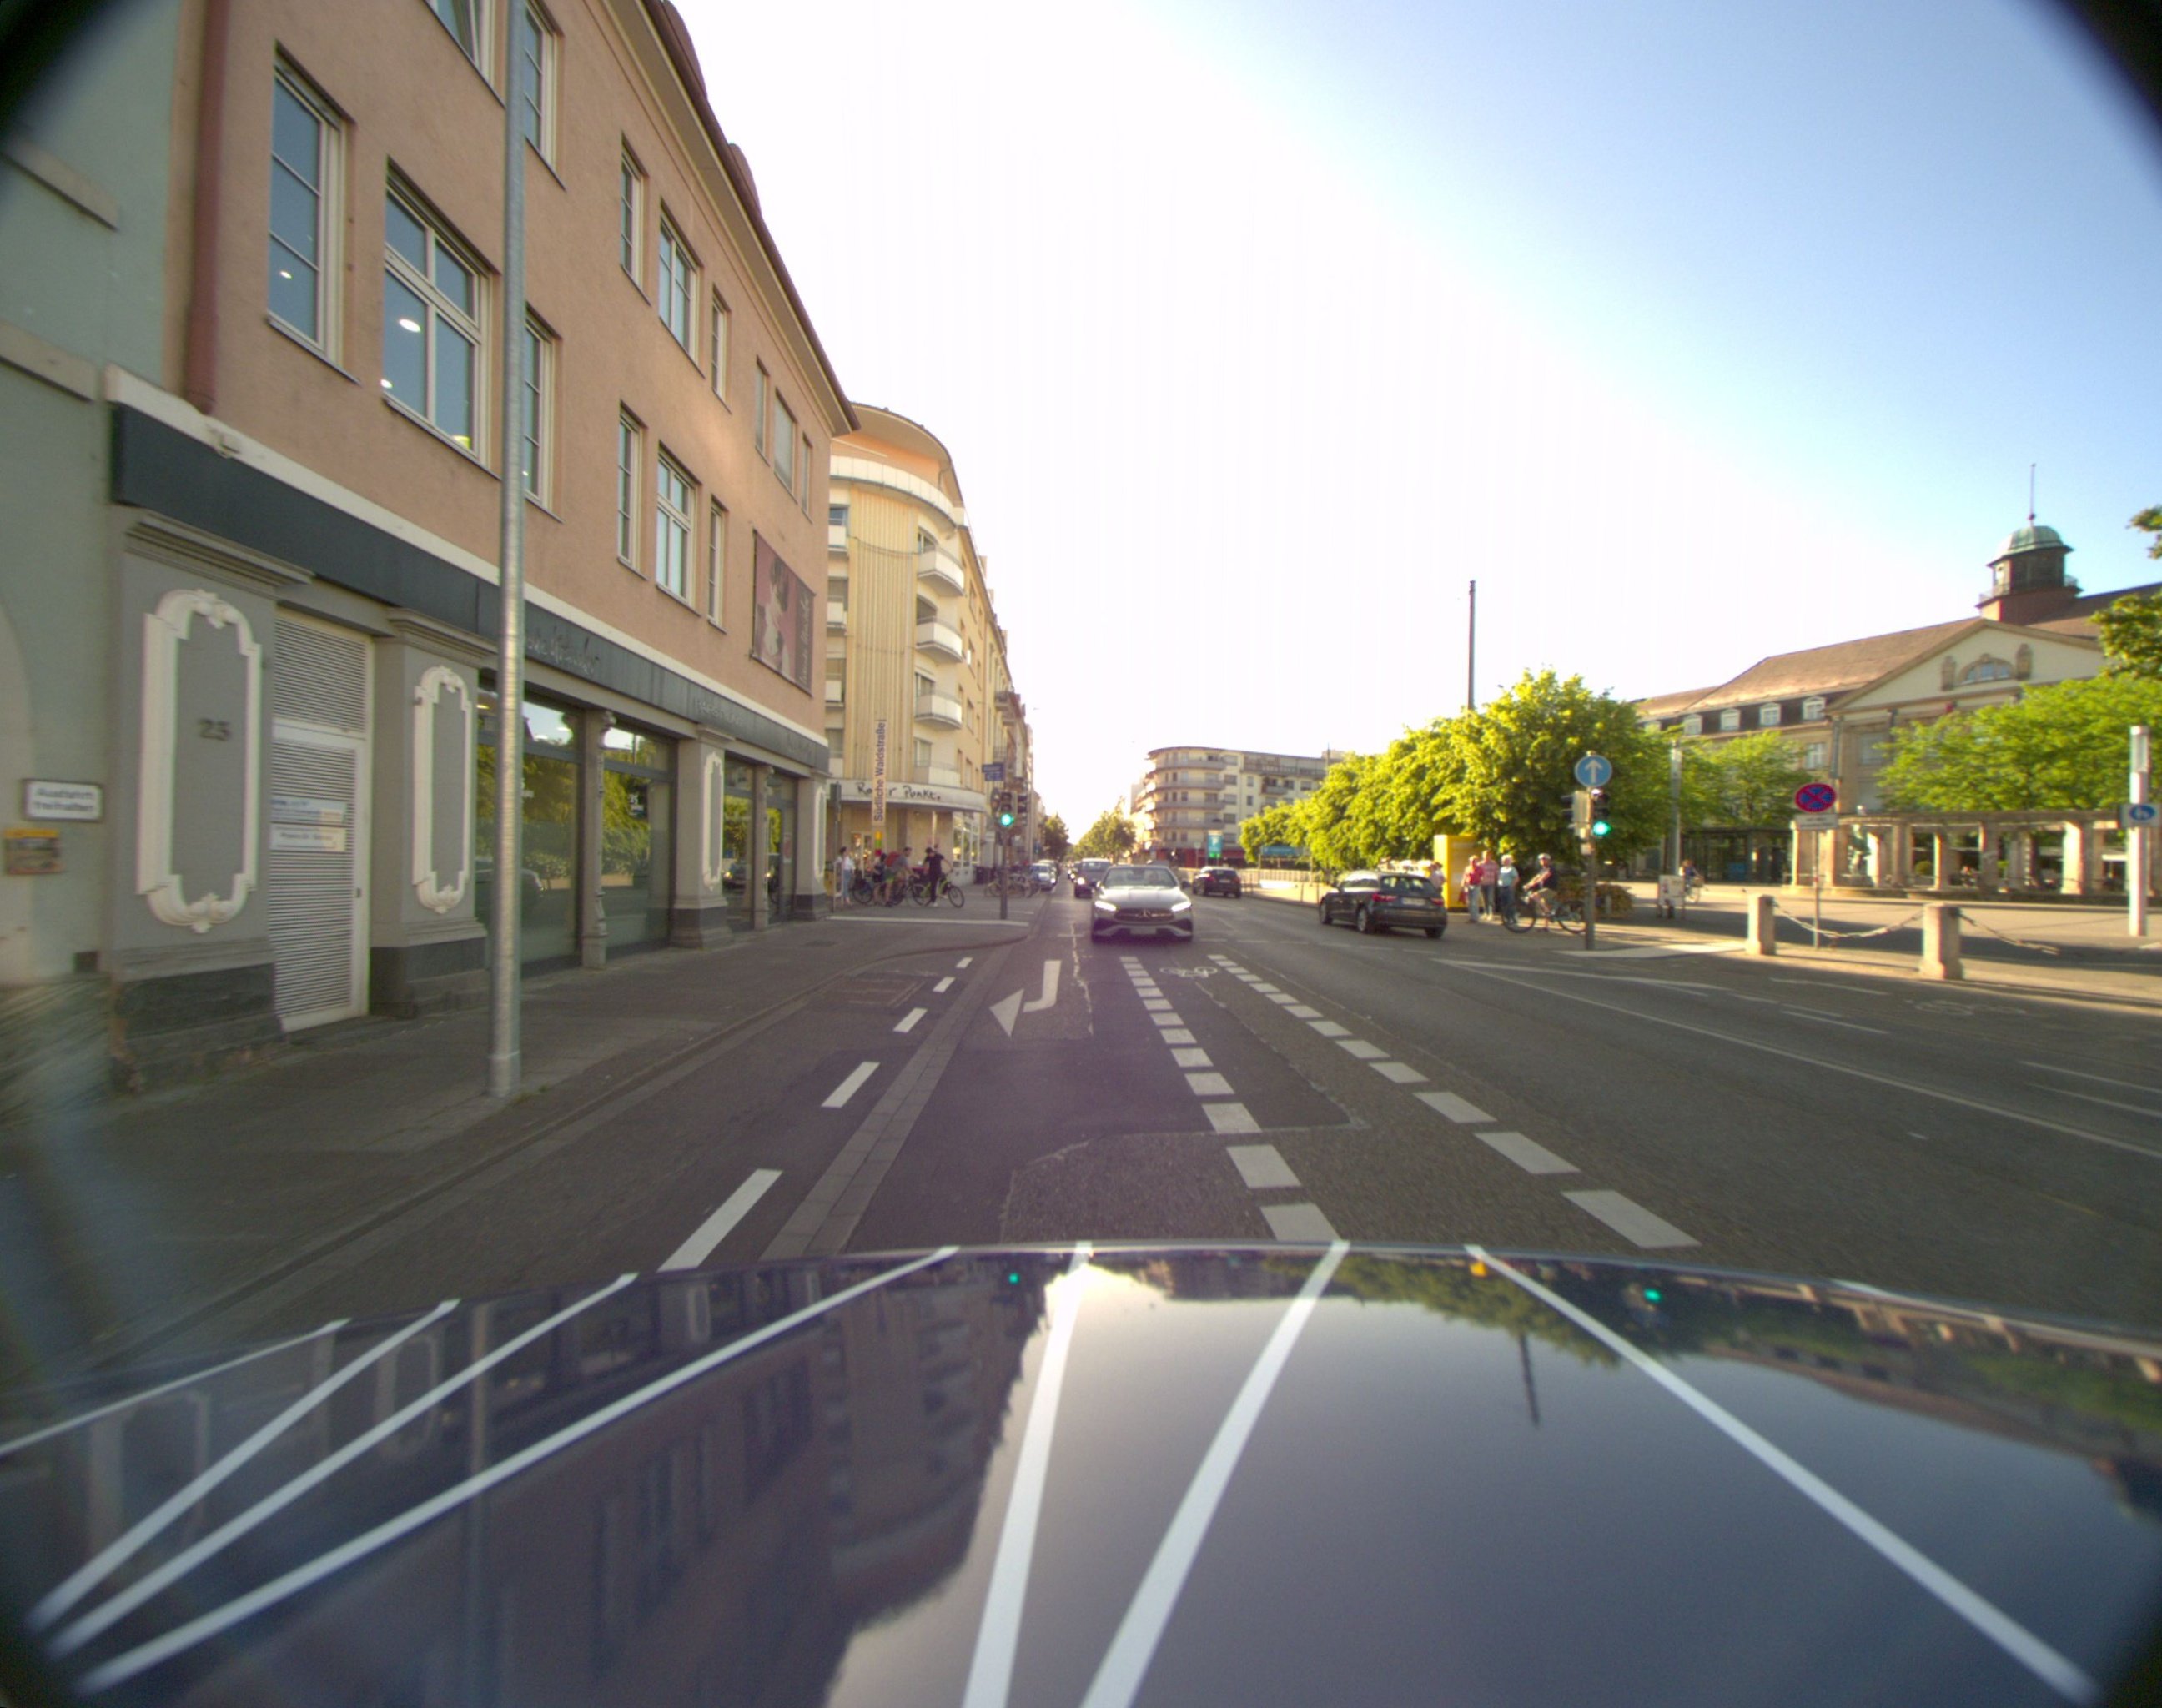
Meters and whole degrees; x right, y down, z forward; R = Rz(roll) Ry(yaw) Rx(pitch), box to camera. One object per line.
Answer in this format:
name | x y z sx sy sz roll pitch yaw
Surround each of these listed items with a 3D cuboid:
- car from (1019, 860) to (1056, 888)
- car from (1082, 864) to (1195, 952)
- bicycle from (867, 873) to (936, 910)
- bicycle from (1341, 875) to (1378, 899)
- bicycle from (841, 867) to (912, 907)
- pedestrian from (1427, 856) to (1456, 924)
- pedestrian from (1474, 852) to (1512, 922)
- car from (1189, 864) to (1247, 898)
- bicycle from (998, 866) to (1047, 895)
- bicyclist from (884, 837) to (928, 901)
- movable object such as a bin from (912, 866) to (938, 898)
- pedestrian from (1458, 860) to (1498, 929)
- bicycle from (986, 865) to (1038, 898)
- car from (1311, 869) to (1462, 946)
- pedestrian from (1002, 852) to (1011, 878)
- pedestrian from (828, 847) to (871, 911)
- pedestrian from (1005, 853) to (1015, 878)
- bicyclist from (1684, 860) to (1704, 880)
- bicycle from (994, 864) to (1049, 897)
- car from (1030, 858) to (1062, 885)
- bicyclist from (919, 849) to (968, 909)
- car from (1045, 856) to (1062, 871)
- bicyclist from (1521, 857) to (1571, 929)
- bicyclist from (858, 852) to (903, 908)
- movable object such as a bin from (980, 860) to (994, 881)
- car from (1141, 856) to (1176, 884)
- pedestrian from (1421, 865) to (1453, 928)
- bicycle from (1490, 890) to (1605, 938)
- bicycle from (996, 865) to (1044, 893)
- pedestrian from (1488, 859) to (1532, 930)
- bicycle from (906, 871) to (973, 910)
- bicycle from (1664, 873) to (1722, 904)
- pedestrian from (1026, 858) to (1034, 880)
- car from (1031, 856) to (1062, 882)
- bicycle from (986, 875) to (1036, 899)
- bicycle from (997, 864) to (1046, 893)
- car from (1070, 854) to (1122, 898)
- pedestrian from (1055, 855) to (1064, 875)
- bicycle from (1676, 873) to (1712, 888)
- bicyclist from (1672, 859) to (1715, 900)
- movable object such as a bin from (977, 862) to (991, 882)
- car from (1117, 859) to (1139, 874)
car | -2.248 1.029 40.263 1.693 1.390 4.000 1 0 1
car | 1.018 0.962 15.204 1.910 1.453 4.364 -1 0 1
bicycle | -4.950 1.031 21.077 1.822 0.988 0.564 1 0 -11
bicycle | 12.456 1.455 34.017 1.529 1.025 0.364 1 0 14
bicycle | -5.941 0.950 22.070 1.915 1.090 0.735 1 0 21
pedestrian | 10.077 0.988 21.235 0.650 1.846 0.626 1 0 31
pedestrian | 11.543 0.919 21.301 0.609 1.907 0.784 1 0 1
car | 6.538 1.264 36.709 1.754 1.415 4.253 4 0 -3
bicycle | -2.402 1.091 31.461 1.962 1.150 0.755 1 0 0
bicyclist | -4.860 0.417 21.082 1.142 1.751 0.752 1 0 -13
movable object such as a bin | -5.521 0.991 26.910 0.810 1.106 0.620 1 0 -2
pedestrian | 10.704 1.082 20.498 0.591 1.801 0.781 1 0 -45
bicycle | -2.646 1.043 29.201 1.946 1.205 0.933 1 0 -6
car | 6.872 1.140 17.591 1.655 1.389 4.042 4 0 -2
pedestrian | -5.747 0.849 58.700 0.673 1.942 0.615 1 0 -4
pedestrian | -6.186 0.652 20.299 0.813 1.649 0.768 1 0 36
pedestrian | -5.427 0.878 57.960 0.694 1.895 0.906 1 0 -4
bicyclist | 45.392 1.166 56.265 0.952 1.463 0.647 0 0 -2
bicycle | -2.362 1.044 30.194 2.142 1.236 0.710 1 0 -5
car | -2.336 1.145 50.866 1.999 1.724 4.198 1 0 -3
bicyclist | -3.950 0.702 21.824 1.129 1.675 0.727 1 0 27
car | -3.364 1.125 93.225 1.999 1.717 4.000 1 0 0
bicyclist | 10.879 0.891 17.808 0.803 1.638 0.995 0 0 21
bicyclist | -5.812 0.730 22.041 1.028 1.574 0.727 1 0 21
movable object such as a bin | -5.674 1.004 46.038 0.703 1.232 0.960 1 0 0
car | 5.880 1.172 58.246 1.999 1.935 4.782 4 0 -2
pedestrian | 9.683 1.126 20.658 0.686 1.663 0.699 1 0 31
bicycle | 10.892 1.403 17.818 2.171 1.065 0.765 -2 -1 20
bicycle | -2.711 1.094 33.837 2.049 1.174 0.683 1 0 0
pedestrian | 11.128 1.026 19.714 0.590 1.801 0.782 1 0 -27
bicycle | -4.104 1.045 21.984 1.910 1.014 0.561 2 0 27
bicycle | 24.286 1.354 30.224 0.941 1.126 2.482 1 0 17
pedestrian | -4.529 1.325 67.961 0.694 1.895 0.906 1 0 -4
car | -2.622 1.068 57.057 2.000 1.867 3.997 1 0 -7
bicycle | -2.635 1.241 28.636 1.848 0.826 0.741 1 0 -6
bicycle | -2.550 1.051 32.770 2.026 1.143 0.715 2 0 0
car | 0.565 0.878 31.633 1.999 1.717 4.000 1 0 0
pedestrian | -2.047 1.052 72.697 0.610 1.912 0.714 1 0 11
bicycle | 45.430 1.950 56.297 2.123 1.097 0.697 1 0 -2
bicyclist | 24.259 0.992 30.121 0.941 1.599 1.172 1 0 17
movable object such as a bin | -5.630 1.030 44.271 0.703 1.153 0.960 1 0 0
car | 4.977 1.303 81.477 1.846 1.537 4.239 3 0 -2
